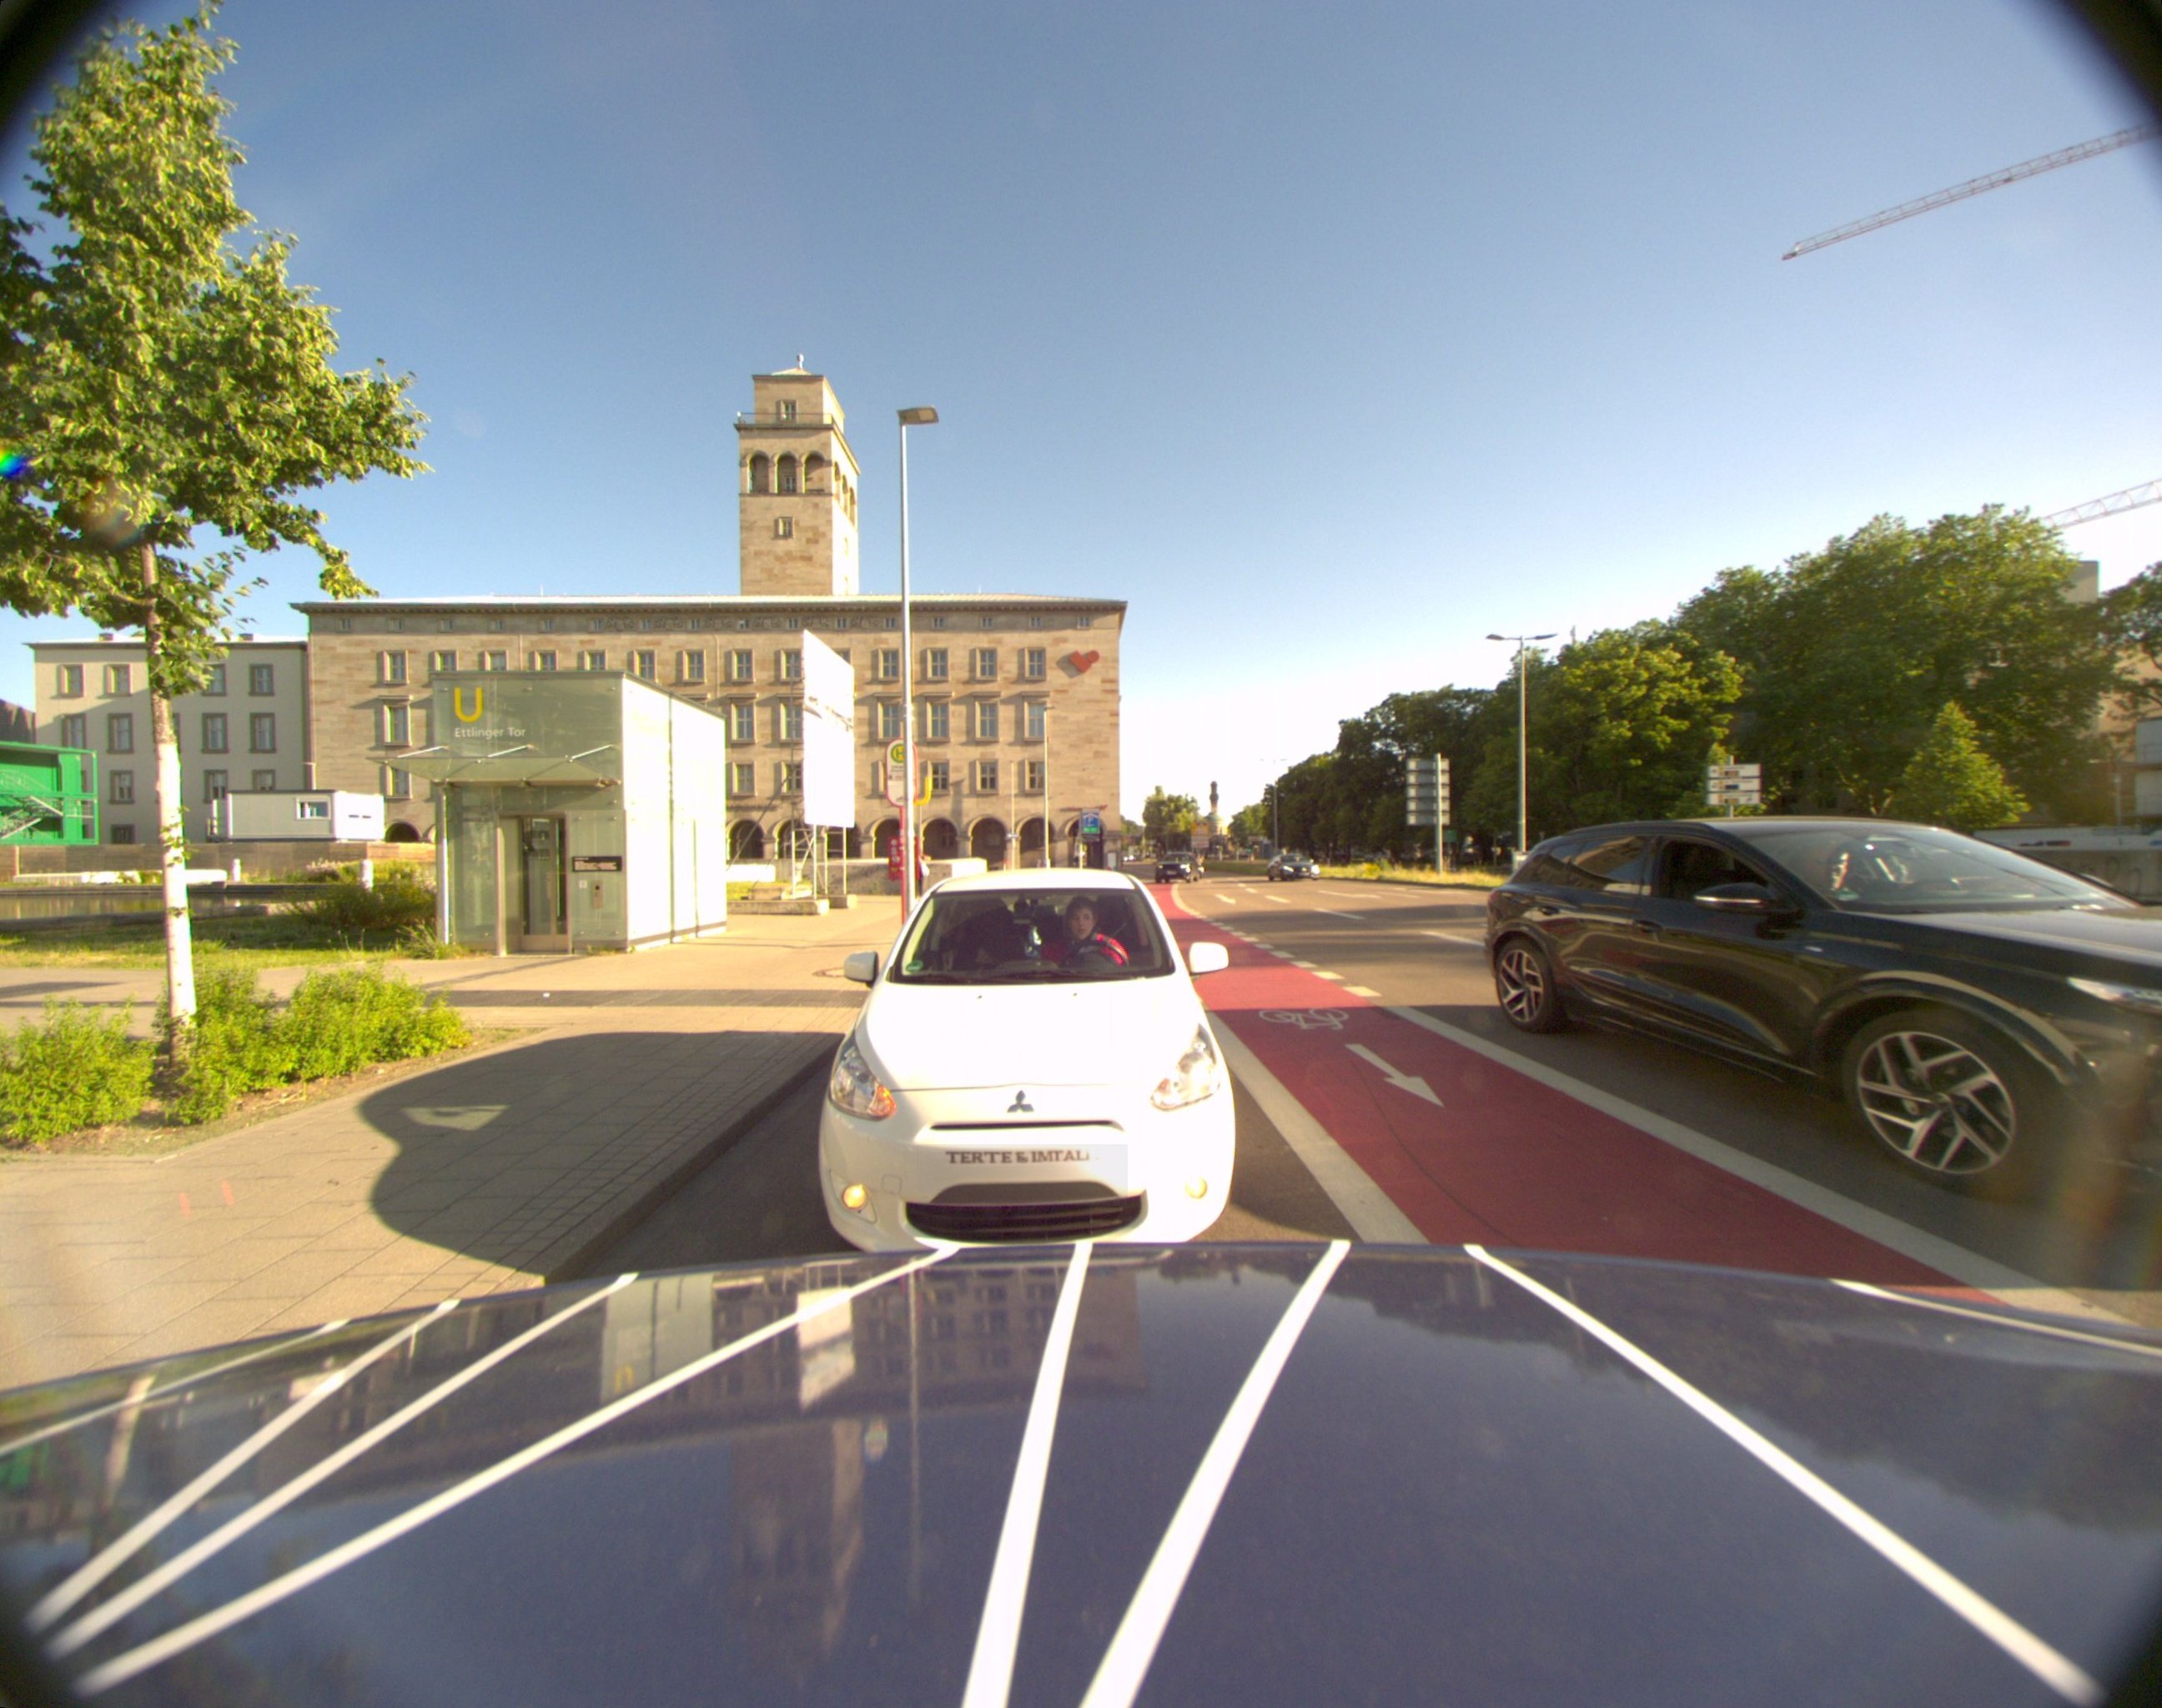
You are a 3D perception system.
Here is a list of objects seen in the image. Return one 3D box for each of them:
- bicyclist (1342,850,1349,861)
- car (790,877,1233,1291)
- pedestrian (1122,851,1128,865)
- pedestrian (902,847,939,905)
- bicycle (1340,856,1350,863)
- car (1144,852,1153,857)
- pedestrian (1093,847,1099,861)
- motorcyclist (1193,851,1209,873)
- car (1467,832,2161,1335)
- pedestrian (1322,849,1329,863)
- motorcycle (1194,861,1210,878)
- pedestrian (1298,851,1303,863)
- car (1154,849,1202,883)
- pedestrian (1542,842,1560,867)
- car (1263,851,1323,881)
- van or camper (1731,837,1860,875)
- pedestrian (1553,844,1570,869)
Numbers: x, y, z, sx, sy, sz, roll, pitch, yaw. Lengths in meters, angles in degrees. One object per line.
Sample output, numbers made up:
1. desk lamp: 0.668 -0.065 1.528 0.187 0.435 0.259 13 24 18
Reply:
1. bicyclist: 32.179 0.185 92.575 0.610 1.274 0.715 -1 1 -1
2. car: -0.237 0.962 4.912 1.678 1.440 3.889 -2 0 1
3. pedestrian: 5.928 0.515 102.792 0.704 1.843 0.828 -1 1 0
4. pedestrian: -5.046 0.689 23.951 0.942 1.776 1.072 1 1 1
5. bicycle: 32.147 0.628 92.569 0.610 0.838 1.745 -1 0 -1
6. car: 18.179 0.202 204.291 1.872 1.390 4.000 -1 0 0
7. pedestrian: 2.001 -0.007 100.256 0.704 1.843 0.828 -1 1 0
8. motorcyclist: 7.900 0.540 49.794 0.974 1.405 1.059 -2 1 10
9. car: 4.431 0.725 4.422 1.938 1.634 4.616 -1 0 -1
10. pedestrian: 32.287 0.286 100.257 0.628 1.837 0.925 -1 1 -1
11. motorcycle: 7.920 0.981 49.802 0.974 1.008 2.268 -2 0 10
12. pedestrian: 32.526 0.473 112.468 0.568 1.837 0.734 -1 1 -1
13. car: 5.399 0.619 41.719 1.996 1.709 4.331 0 0 15
14. pedestrian: 32.001 0.020 51.726 0.707 1.715 0.762 -1 1 1
15. car: 10.981 0.573 39.617 1.998 1.398 4.489 -2 0 3
16. van or camper: 42.302 0.128 45.081 5.649 2.002 1.948 -2 1 2
17. pedestrian: 32.882 0.182 51.990 0.665 1.715 0.762 0 1 1
